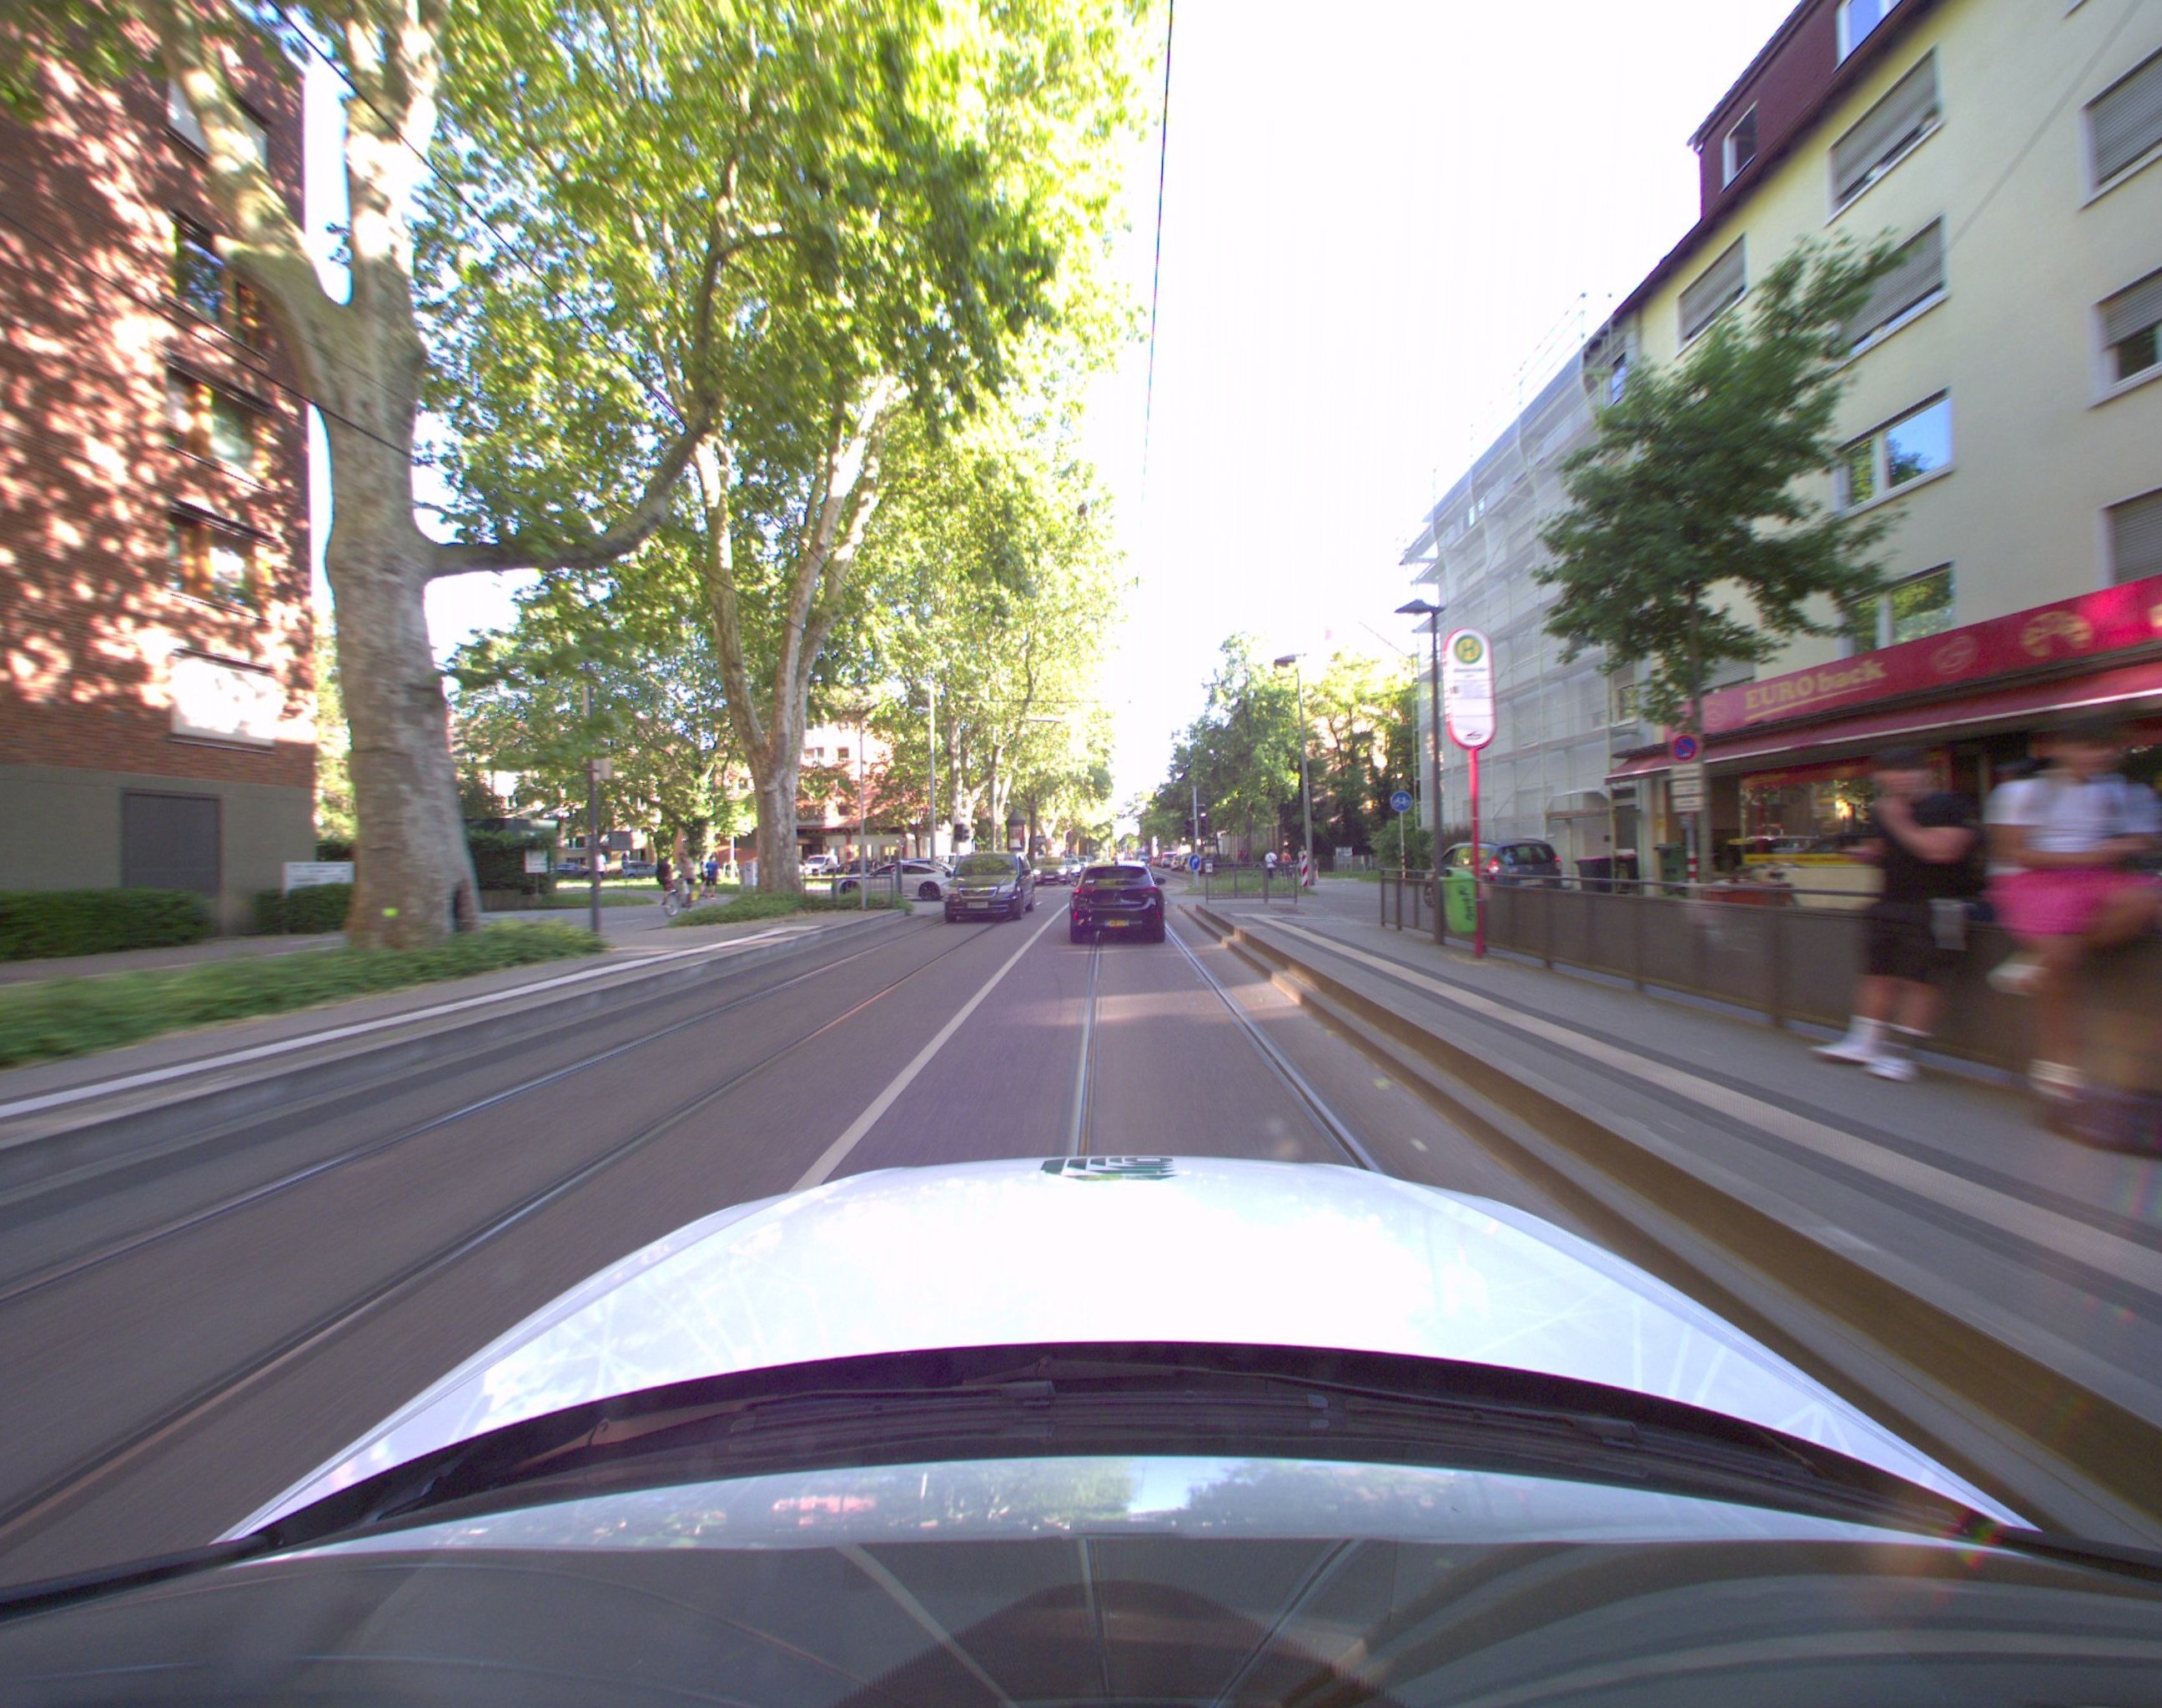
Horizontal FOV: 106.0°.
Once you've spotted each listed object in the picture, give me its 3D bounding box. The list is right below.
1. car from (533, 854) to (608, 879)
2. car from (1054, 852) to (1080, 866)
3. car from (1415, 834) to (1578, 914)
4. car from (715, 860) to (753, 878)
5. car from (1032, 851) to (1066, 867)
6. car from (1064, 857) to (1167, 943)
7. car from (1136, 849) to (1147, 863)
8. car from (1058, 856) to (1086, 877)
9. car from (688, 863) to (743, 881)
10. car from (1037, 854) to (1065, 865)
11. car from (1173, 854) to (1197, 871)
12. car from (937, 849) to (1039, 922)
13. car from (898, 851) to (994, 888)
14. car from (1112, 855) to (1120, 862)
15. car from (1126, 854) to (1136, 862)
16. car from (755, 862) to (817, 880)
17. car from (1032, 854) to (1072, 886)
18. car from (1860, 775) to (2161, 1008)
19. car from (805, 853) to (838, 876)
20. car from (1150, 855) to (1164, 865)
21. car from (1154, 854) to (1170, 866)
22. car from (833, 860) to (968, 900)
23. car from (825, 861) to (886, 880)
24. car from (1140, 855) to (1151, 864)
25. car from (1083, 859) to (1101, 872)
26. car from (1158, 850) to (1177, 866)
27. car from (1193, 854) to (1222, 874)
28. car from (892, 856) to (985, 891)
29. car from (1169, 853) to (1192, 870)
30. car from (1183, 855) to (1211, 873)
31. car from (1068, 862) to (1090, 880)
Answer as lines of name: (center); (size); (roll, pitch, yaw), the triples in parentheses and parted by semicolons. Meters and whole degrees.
car: (-41.236, 0.989, 65.861); (4.725, 2.014, 1.995); (0, -1, -7)
car: (-2.832, 1.038, 167.516); (5.017, 2.374, 2.082); (-4, -1, 1)
car: (9.672, 0.411, 19.411); (1.755, 1.621, 4.445); (-3, 0, 3)
car: (-31.726, 1.367, 74.567); (1.941, 1.618, 4.475); (0, 0, -5)
car: (-4.702, 0.733, 121.773); (5.019, 2.259, 2.084); (0, 0, -2)
car: (0.655, 0.803, 15.862); (1.756, 1.460, 3.952); (0, 0, 2)
car: (12.472, 0.477, 167.812); (2.077, 2.772, 4.699); (-2, 0, 2)
car: (-0.634, 0.898, 60.214); (1.768, 1.461, 4.207); (0, 0, 2)
car: (-29.750, 1.435, 66.316); (3.699, 1.450, 1.686); (0, -1, -4)
car: (-4.602, 0.801, 124.762); (4.287, 1.607, 1.925); (-1, 0, -1)
car: (10.237, 0.809, 80.259); (1.877, 1.467, 4.596); (-4, -1, 2)
car: (-2.344, 0.760, 21.909); (1.986, 1.716, 5.145); (0, 0, 2)
car: (-6.870, 0.763, 41.823); (4.555, 1.834, 1.938); (0, -1, 0)
car: (9.807, 1.246, 227.443); (2.246, 1.840, 5.533); (-2, 0, 2)
car: (12.552, 1.062, 203.075); (2.246, 1.840, 5.533); (-2, 0, 2)
car: (-24.088, 1.372, 66.556); (4.463, 1.450, 1.820); (0, -1, -7)
car: (-1.584, 0.862, 45.992); (1.901, 1.638, 4.322); (-2, -1, 1)
car: (9.818, 0.272, 7.188); (1.985, 1.896, 4.198); (-2, 0, 4)
car: (-23.612, 0.938, 74.305); (1.992, 2.003, 4.907); (0, 0, -7)
car: (11.545, 0.900, 124.186); (1.696, 1.423, 3.980); (-4, -1, 2)
car: (11.495, 0.876, 115.695); (1.706, 1.514, 4.036); (-3, -1, 0)
car: (-6.838, 0.969, 31.220); (4.753, 1.460, 1.953); (0, -1, -3)
car: (-18.594, 1.330, 67.217); (4.518, 1.489, 1.857); (0, -1, -4)
car: (11.909, 1.008, 150.509); (1.877, 1.434, 4.532); (-4, -1, 2)
car: (1.246, 1.282, 93.854); (1.658, 1.444, 3.466); (0, 0, -6)
car: (10.642, 0.497, 100.564); (1.877, 1.851, 4.969); (-4, -1, 2)
car: (9.911, 0.801, 64.012); (1.667, 1.412, 3.842); (-4, -1, 0)
car: (-6.878, 0.928, 39.595); (4.125, 1.646, 1.902); (0, -1, 0)
car: (10.352, 0.771, 84.883); (1.877, 1.568, 4.243); (-4, -1, 2)
car: (10.081, 0.868, 70.838); (1.877, 1.368, 4.108); (-4, -1, 2)
car: (-0.139, 1.590, 76.510); (1.808, 1.568, 4.118); (-2, -1, 2)
